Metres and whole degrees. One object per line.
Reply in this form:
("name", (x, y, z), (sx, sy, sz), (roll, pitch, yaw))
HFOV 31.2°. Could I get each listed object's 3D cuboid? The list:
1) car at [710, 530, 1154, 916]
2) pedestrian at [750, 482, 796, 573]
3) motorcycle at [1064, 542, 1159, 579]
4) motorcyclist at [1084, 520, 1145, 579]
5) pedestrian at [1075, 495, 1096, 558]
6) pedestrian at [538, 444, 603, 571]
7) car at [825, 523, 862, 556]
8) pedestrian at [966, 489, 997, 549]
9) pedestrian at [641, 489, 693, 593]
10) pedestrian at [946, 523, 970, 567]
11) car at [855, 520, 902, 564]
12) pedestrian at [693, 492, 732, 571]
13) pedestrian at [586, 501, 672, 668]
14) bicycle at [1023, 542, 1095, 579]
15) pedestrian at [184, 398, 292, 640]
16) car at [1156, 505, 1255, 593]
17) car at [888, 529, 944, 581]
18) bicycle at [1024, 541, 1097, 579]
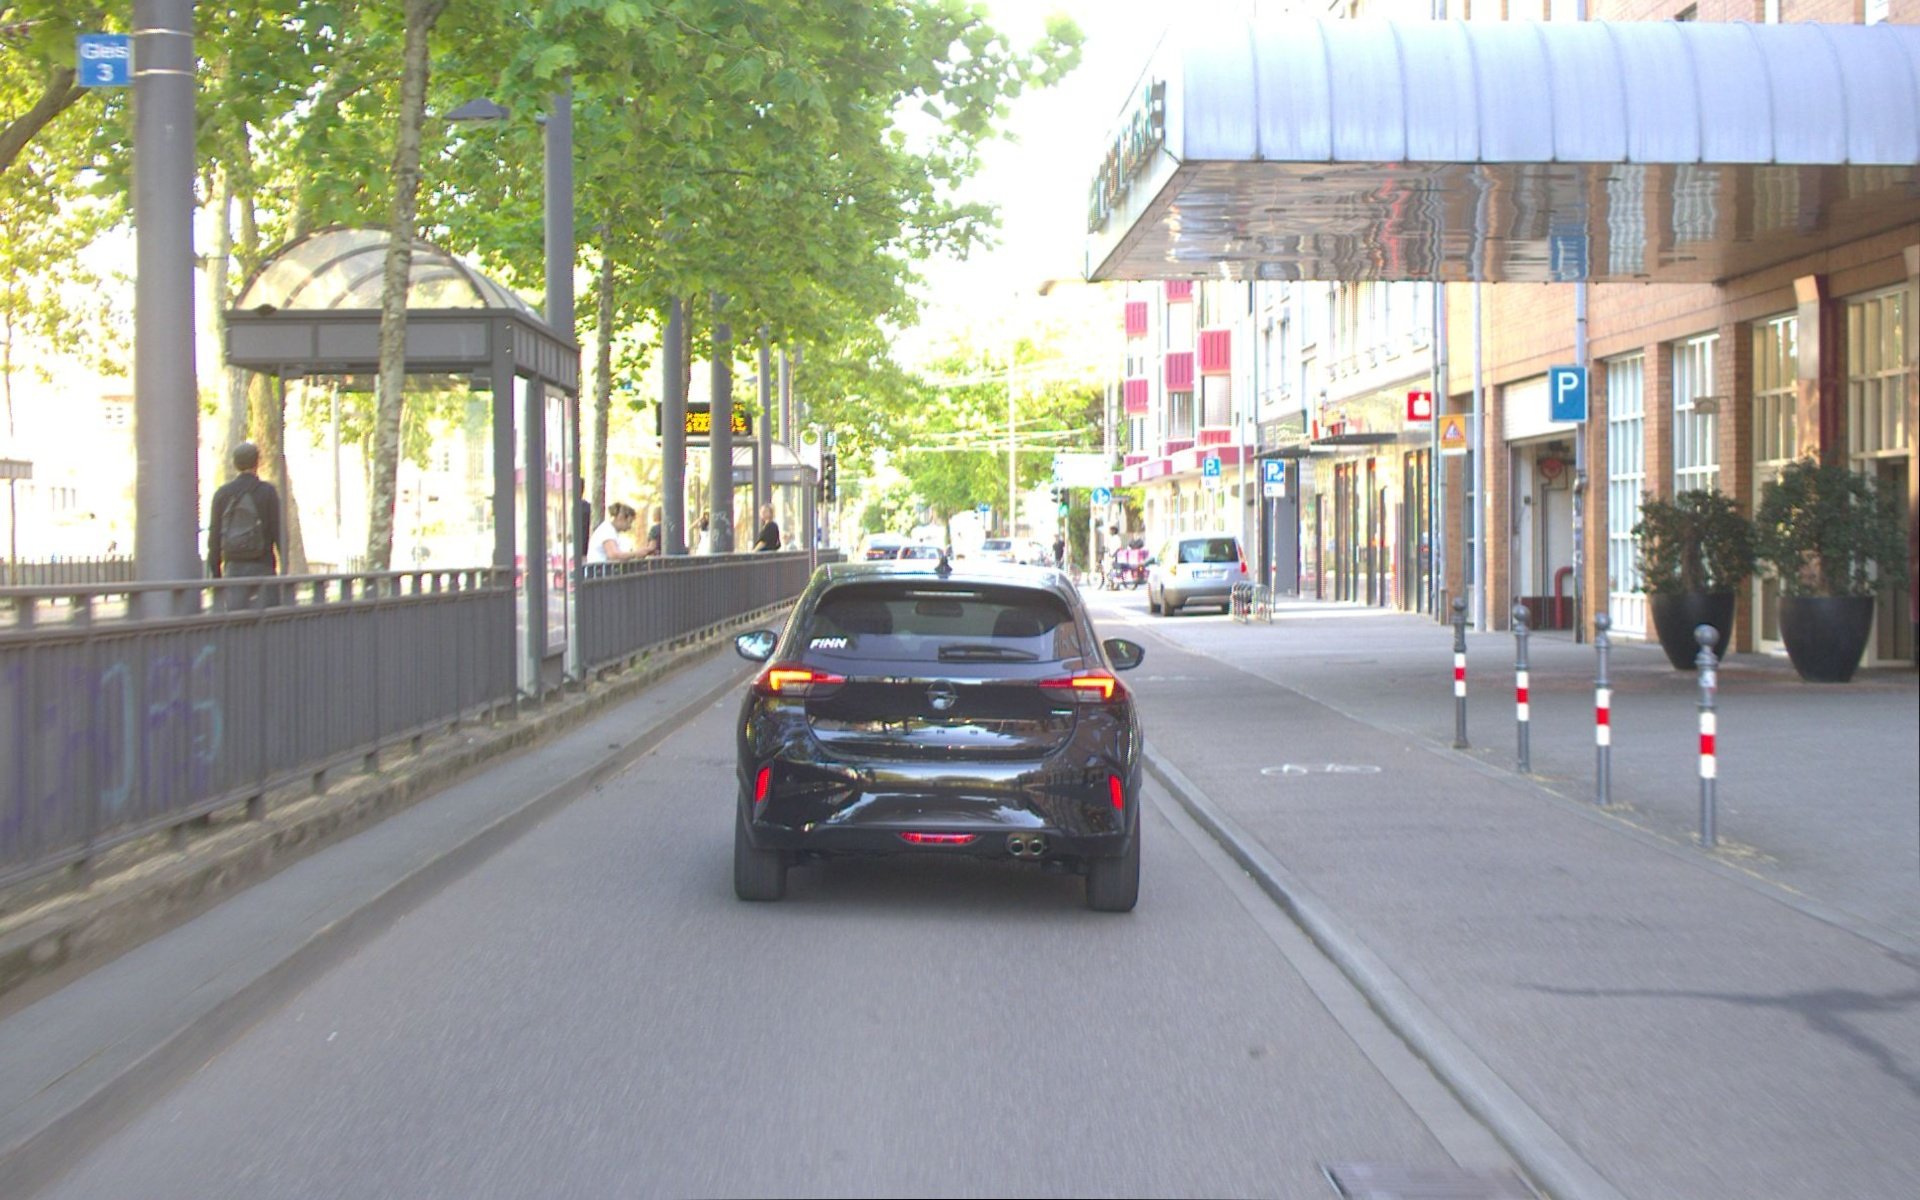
("car", (-0.012, 0.481, 15.503), (1.672, 1.496, 3.690), (1, 0, 4))
("pedestrian", (-2.993, -1.159, 55.050), (0.722, 1.440, 0.627), (0, 1, -4))
("motorcycle", (4.425, -1.158, 100.697), (1.304, 1.055, 3.098), (-1, 2, -30))
("motorcyclist", (4.521, -1.478, 100.541), (1.304, 1.692, 1.237), (-1, 1, -30))
("pedestrian", (5.771, -3.379, 158.273), (0.917, 2.861, 1.150), (0, 1, -1))
("pedestrian", (-4.252, -1.009, 37.533), (0.604, 1.360, 0.486), (-2, 1, 0))
("car", (-5.307, -2.769, 156.885), (1.613, 1.496, 3.691), (0, 1, -1))
("pedestrian", (1.045, -3.923, 166.023), (1.147, 2.862, 0.920), (-1, 1, -33))
("pedestrian", (-3.897, -0.784, 45.711), (0.604, 1.360, 0.486), (-2, 1, 0))
("pedestrian", (-0.069, -2.233, 139.891), (0.917, 1.769, 1.150), (0, 1, -3))
("car", (-2.829, -2.047, 120.194), (1.613, 1.496, 3.691), (0, 1, -1))
("pedestrian", (-4.325, -1.199, 60.052), (0.604, 1.360, 0.486), (-2, 1, 0))
("pedestrian", (-2.872, -0.140, 29.900), (0.722, 1.440, 0.627), (0, 1, -4))
("bicycle", (3.278, -1.310, 113.832), (2.355, 1.229, 0.684), (0, 1, 2))
("pedestrian", (-5.093, -0.567, 24.280), (0.604, 1.674, 0.486), (-2, 1, 0))
("car", (4.732, -1.007, 66.677), (1.672, 1.646, 3.691), (0, 1, 0))
("car", (-1.314, -1.342, 101.778), (1.613, 1.496, 3.691), (0, 1, -1))
("bicycle", (3.280, -1.311, 112.108), (2.355, 1.229, 0.684), (0, 1, 2))
